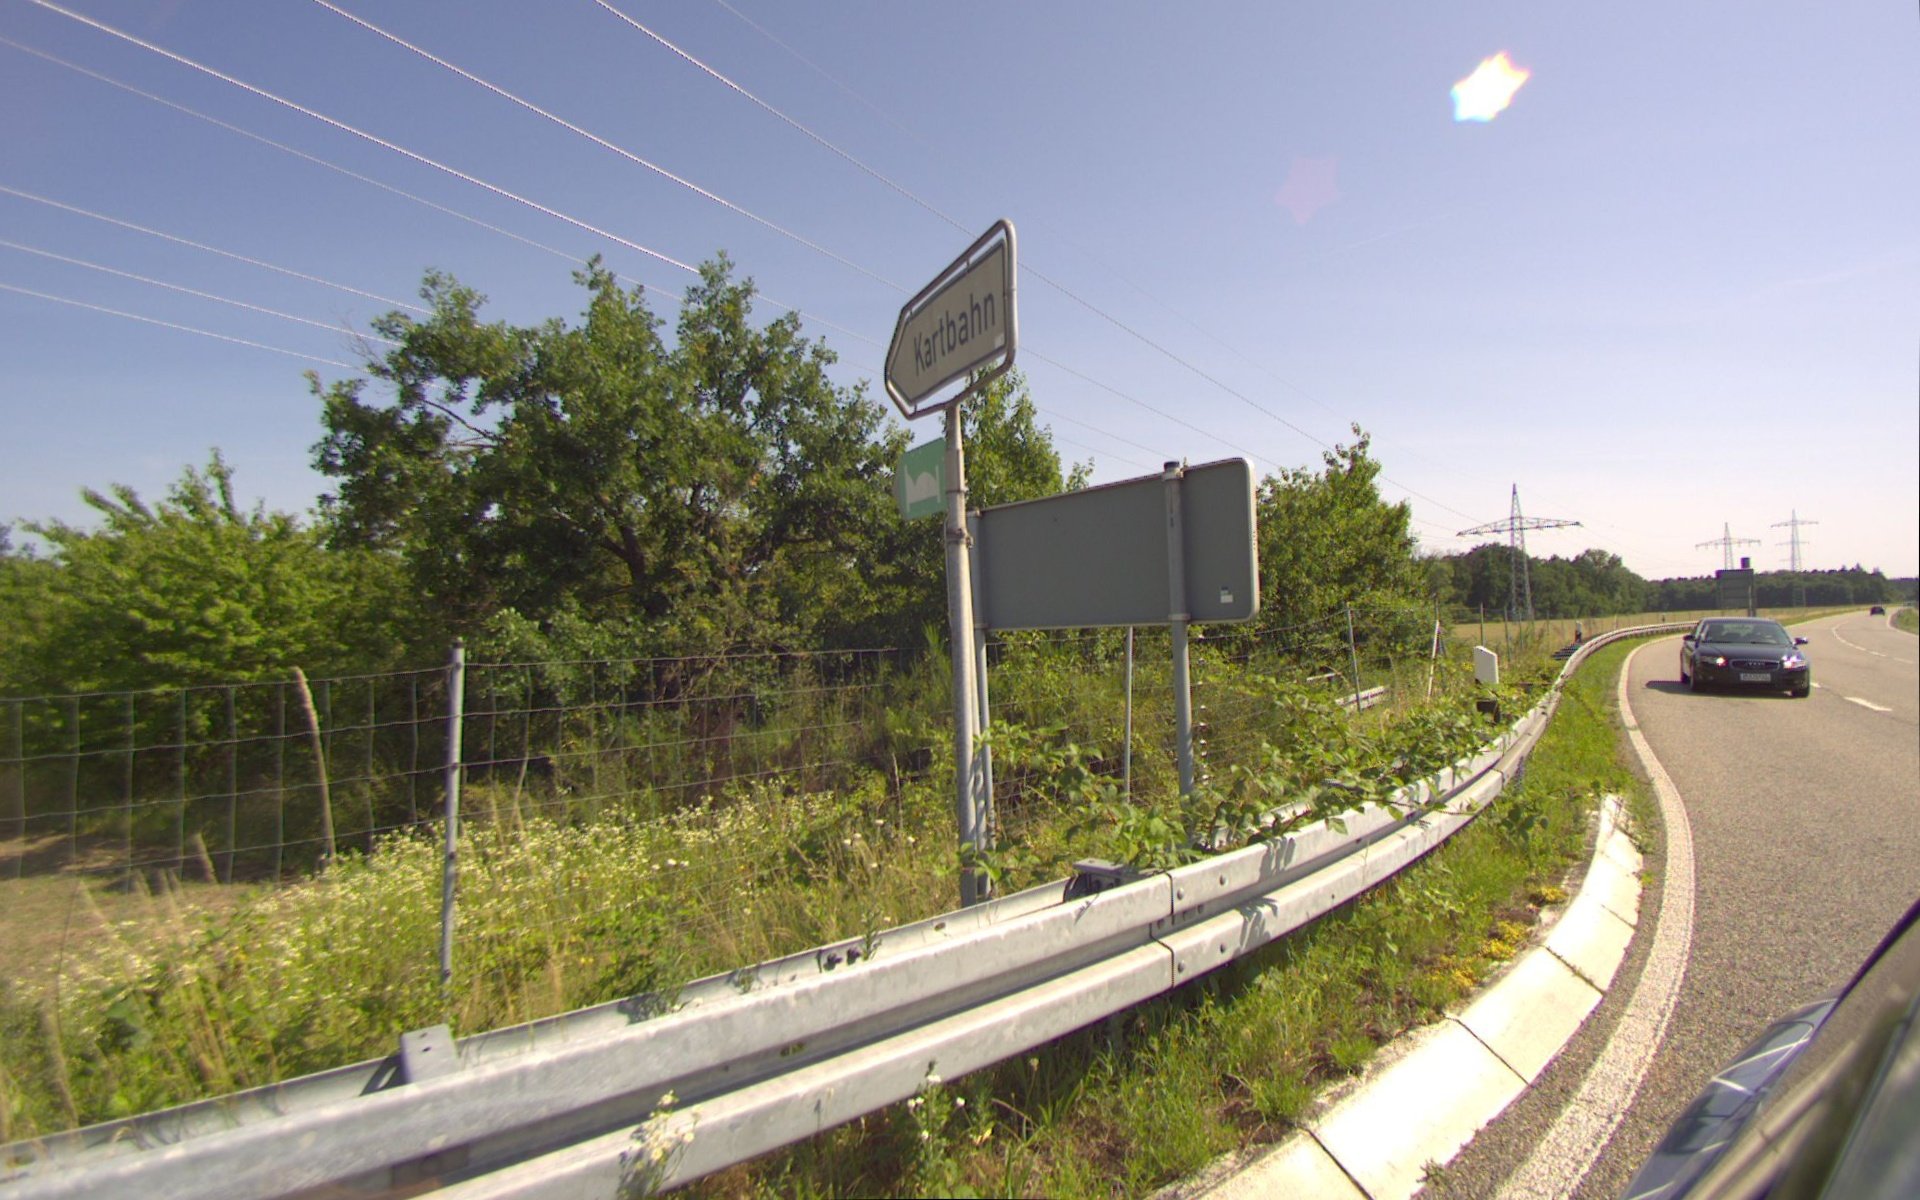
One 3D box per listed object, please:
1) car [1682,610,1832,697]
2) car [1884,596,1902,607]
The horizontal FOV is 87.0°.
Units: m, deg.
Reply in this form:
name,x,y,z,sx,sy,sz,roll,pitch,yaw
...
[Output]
name,x,y,z,sx,sy,sz,roll,pitch,yaw
car,15.269,0.940,19.602,1.874,1.475,4.027,0,0,33
car,143.350,0.200,155.554,1.827,1.526,4.101,2,1,41
